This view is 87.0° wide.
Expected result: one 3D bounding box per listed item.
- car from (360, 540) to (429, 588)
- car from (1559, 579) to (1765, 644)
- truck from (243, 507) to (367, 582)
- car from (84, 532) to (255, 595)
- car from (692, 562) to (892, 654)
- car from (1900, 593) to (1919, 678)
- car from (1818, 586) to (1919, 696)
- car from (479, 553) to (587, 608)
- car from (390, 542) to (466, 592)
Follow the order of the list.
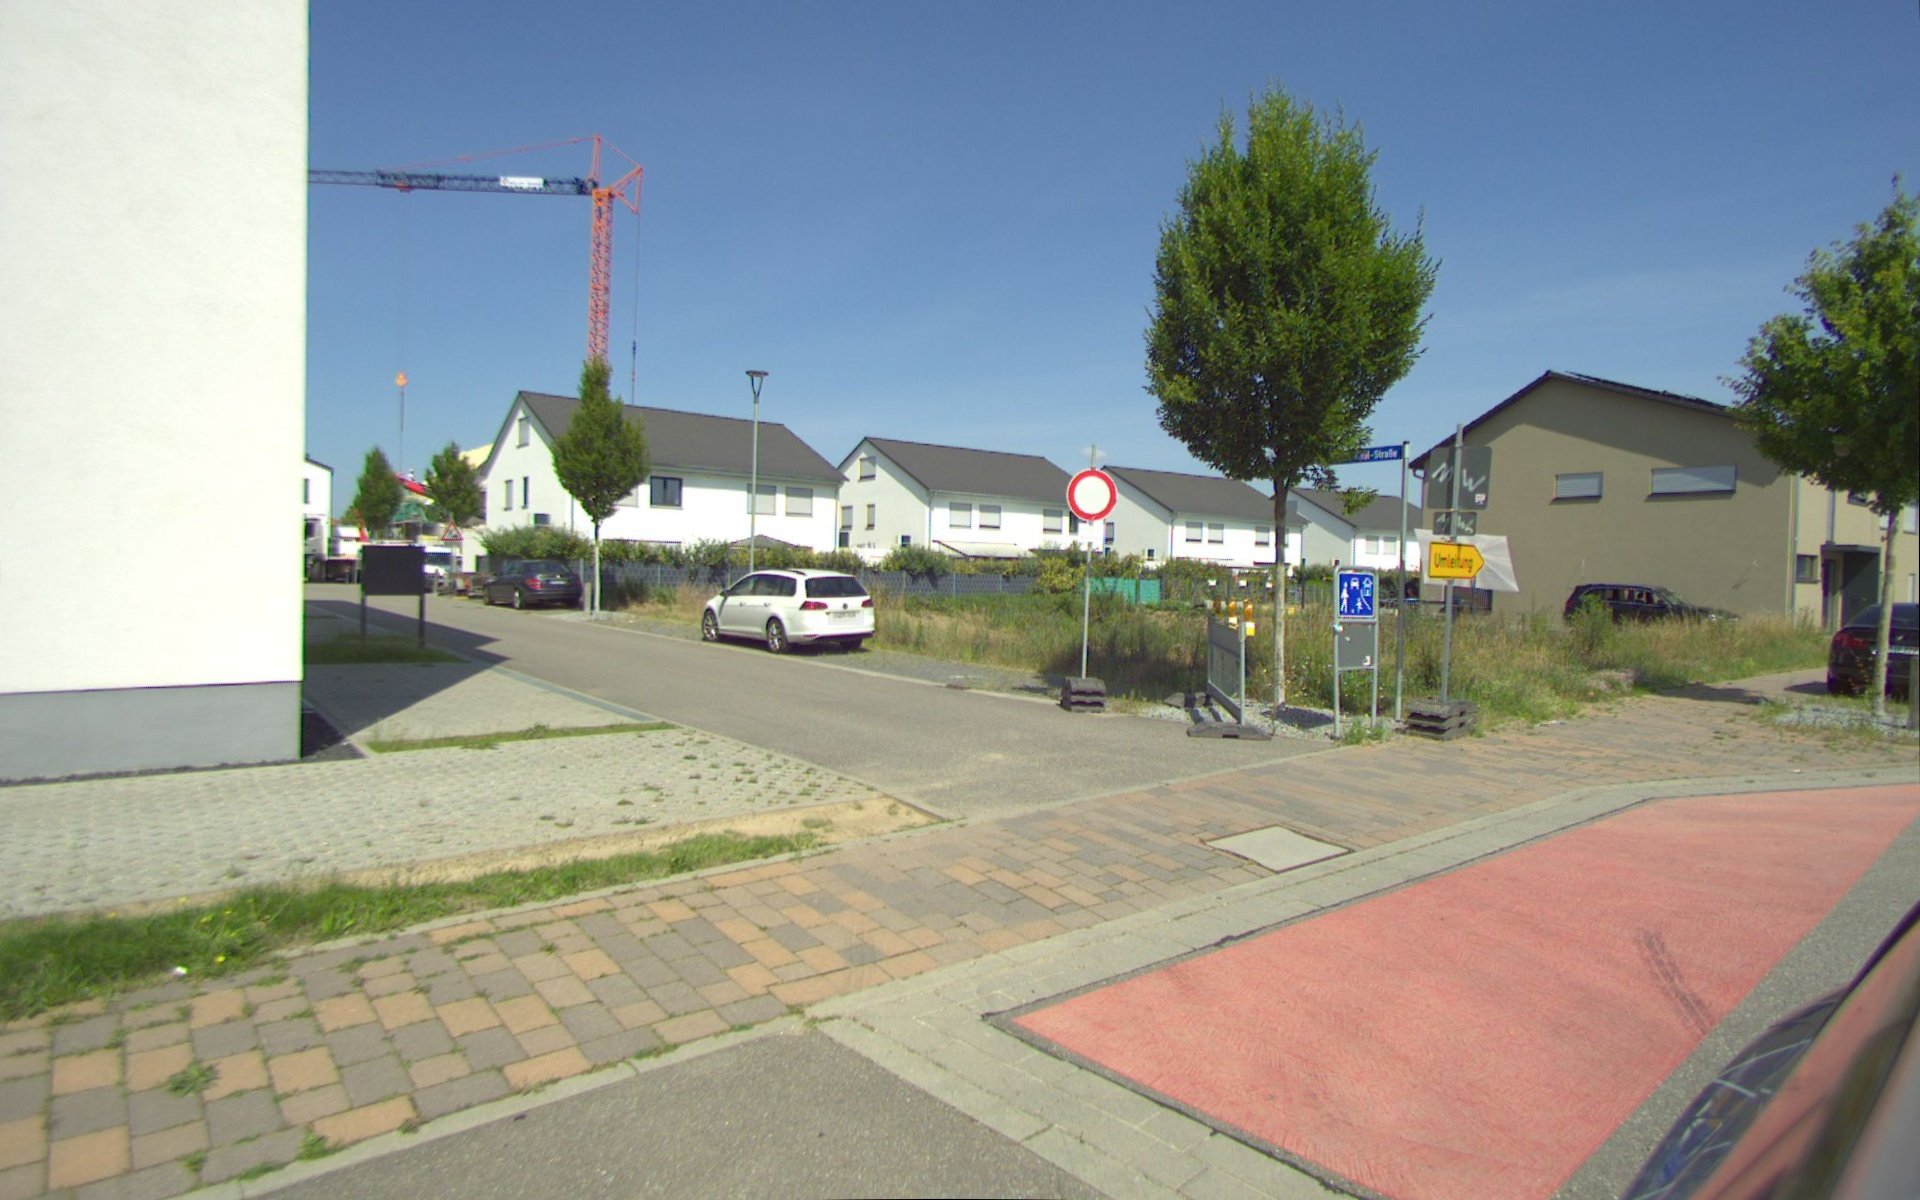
[{"bbox_3d":[-25.190,-1.641,44.985,1.849,2.004,4.606,-1,3,-40],"label":"car"},{"bbox_3d":[21.357,0.269,30.976,1.963,1.664,4.761,-1,3,-37],"label":"car"},{"bbox_3d":[-32.013,-2.689,49.827,2.252,3.433,6.983,-1,2,-7],"label":"truck"},{"bbox_3d":[-24.398,-1.139,31.435,4.094,1.832,1.883,-1,3,-36],"label":"car"},{"bbox_3d":[-3.255,0.065,18.976,1.849,1.453,4.167,-1,3,-40],"label":"car"},{"bbox_3d":[19.962,0.746,19.509,5.198,1.529,1.924,1,3,-39],"label":"car"},{"bbox_3d":[15.339,0.636,15.749,5.044,1.487,1.925,1,3,-37],"label":"car"},{"bbox_3d":[-12.830,-0.622,30.296,1.849,1.496,4.167,-1,3,-40],"label":"car"},{"bbox_3d":[-21.002,-1.346,39.878,1.849,1.859,4.167,-1,3,-40],"label":"car"}]
